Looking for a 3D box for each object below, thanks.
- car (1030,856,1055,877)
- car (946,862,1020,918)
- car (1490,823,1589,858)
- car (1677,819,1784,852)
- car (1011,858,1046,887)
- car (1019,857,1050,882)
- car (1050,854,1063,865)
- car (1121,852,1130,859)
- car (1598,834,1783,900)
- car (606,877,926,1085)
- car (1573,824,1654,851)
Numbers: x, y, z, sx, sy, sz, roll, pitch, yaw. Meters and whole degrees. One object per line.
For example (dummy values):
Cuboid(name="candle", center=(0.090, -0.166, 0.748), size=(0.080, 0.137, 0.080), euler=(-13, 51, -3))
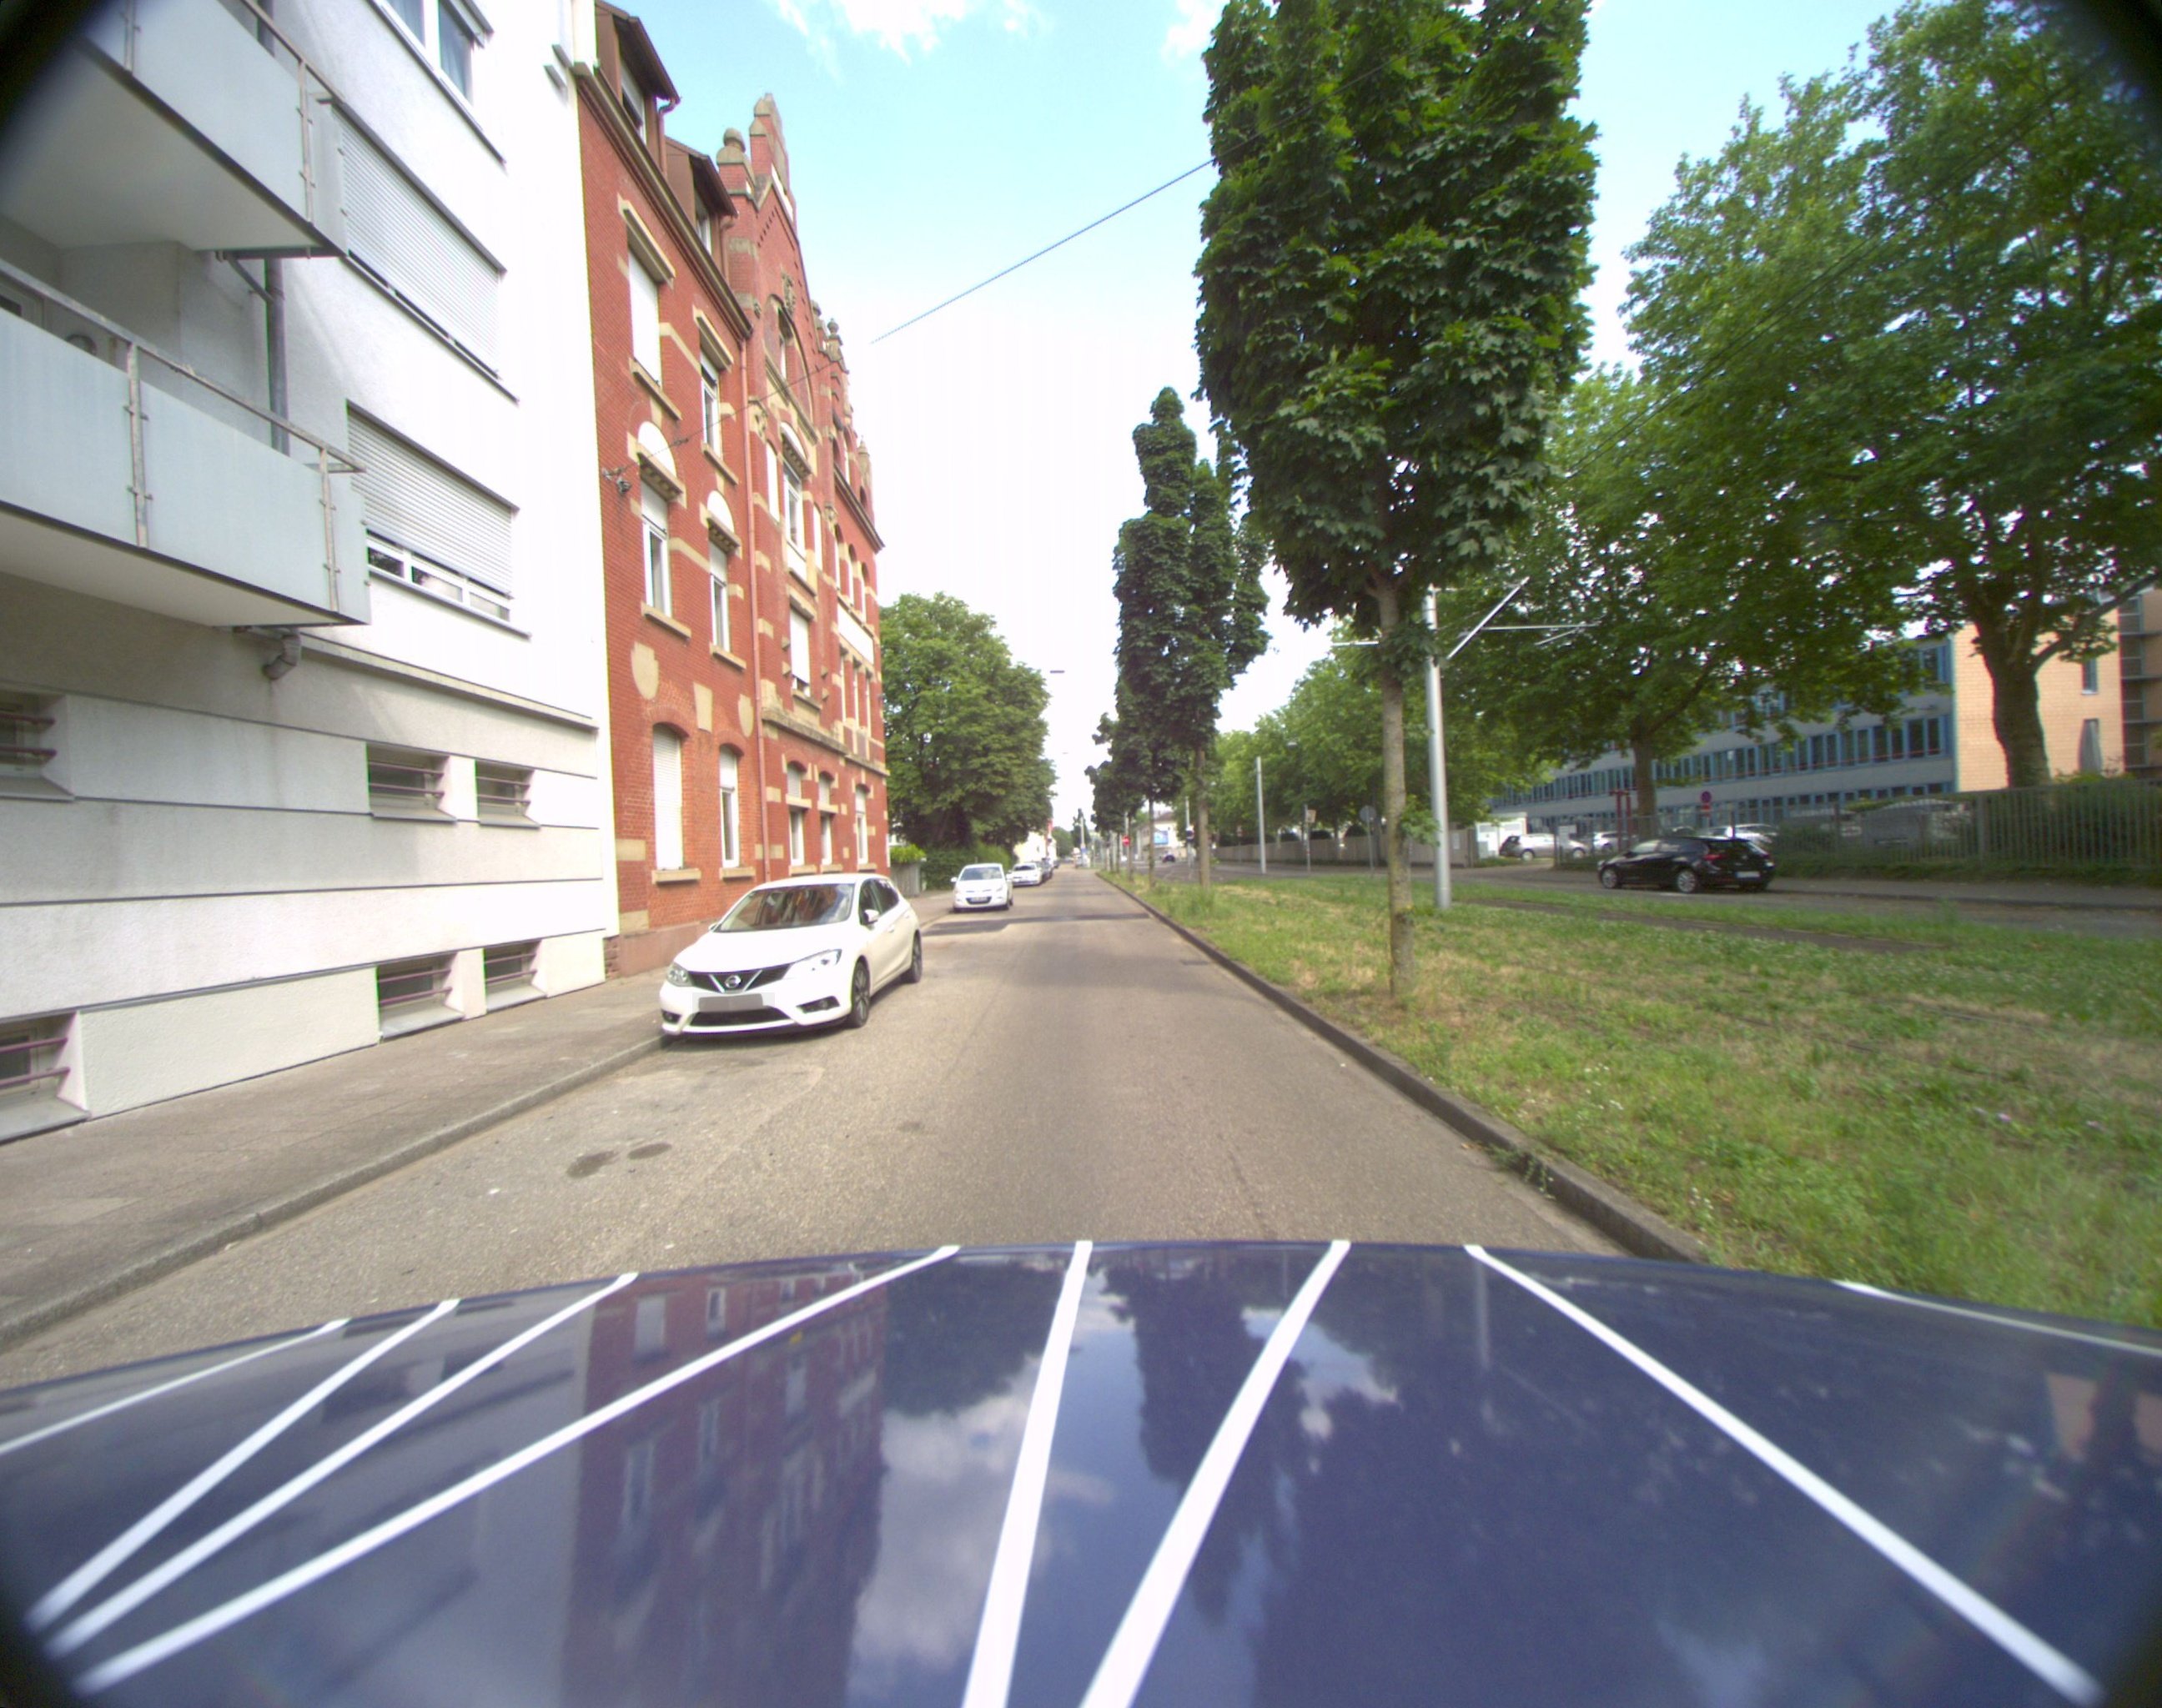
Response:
Cuboid(name="car", center=(-3.159, 1.052, 63.391), size=(1.801, 1.521, 4.040), euler=(-5, 0, 0))
Cuboid(name="car", center=(-3.088, 1.087, 24.762), size=(1.801, 1.521, 4.040), euler=(-4, 0, 0))
Cuboid(name="car", center=(23.989, -0.701, 39.844), size=(3.997, 1.608, 1.999), euler=(-2, 1, -2))
Cuboid(name="car", center=(34.545, -0.976, 40.502), size=(3.997, 1.608, 1.999), euler=(-2, 1, -2))
Cuboid(name="car", center=(-3.151, 1.100, 46.281), size=(1.801, 1.521, 4.040), euler=(-5, 0, 0))
Cuboid(name="car", center=(-3.184, 1.036, 52.517), size=(1.801, 1.521, 4.040), euler=(-5, 0, 0))
Cuboid(name="car", center=(-3.896, 0.874, 121.424), size=(1.801, 1.521, 4.040), euler=(-5, 0, 0))
Cuboid(name="car", center=(10.973, 0.304, 187.605), size=(1.801, 1.521, 4.040), euler=(-4, 0, 0))
Cuboid(name="car", center=(15.545, 0.298, 19.684), size=(1.601, 1.455, 4.000), euler=(-3, 0, 1))
Cuboid(name="car", center=(-3.067, 1.133, 8.429), size=(1.801, 1.521, 4.040), euler=(-3, 0, 0))
Cuboid(name="car", center=(35.357, -1.067, 50.493), size=(3.997, 1.608, 1.999), euler=(-2, 1, -2))
